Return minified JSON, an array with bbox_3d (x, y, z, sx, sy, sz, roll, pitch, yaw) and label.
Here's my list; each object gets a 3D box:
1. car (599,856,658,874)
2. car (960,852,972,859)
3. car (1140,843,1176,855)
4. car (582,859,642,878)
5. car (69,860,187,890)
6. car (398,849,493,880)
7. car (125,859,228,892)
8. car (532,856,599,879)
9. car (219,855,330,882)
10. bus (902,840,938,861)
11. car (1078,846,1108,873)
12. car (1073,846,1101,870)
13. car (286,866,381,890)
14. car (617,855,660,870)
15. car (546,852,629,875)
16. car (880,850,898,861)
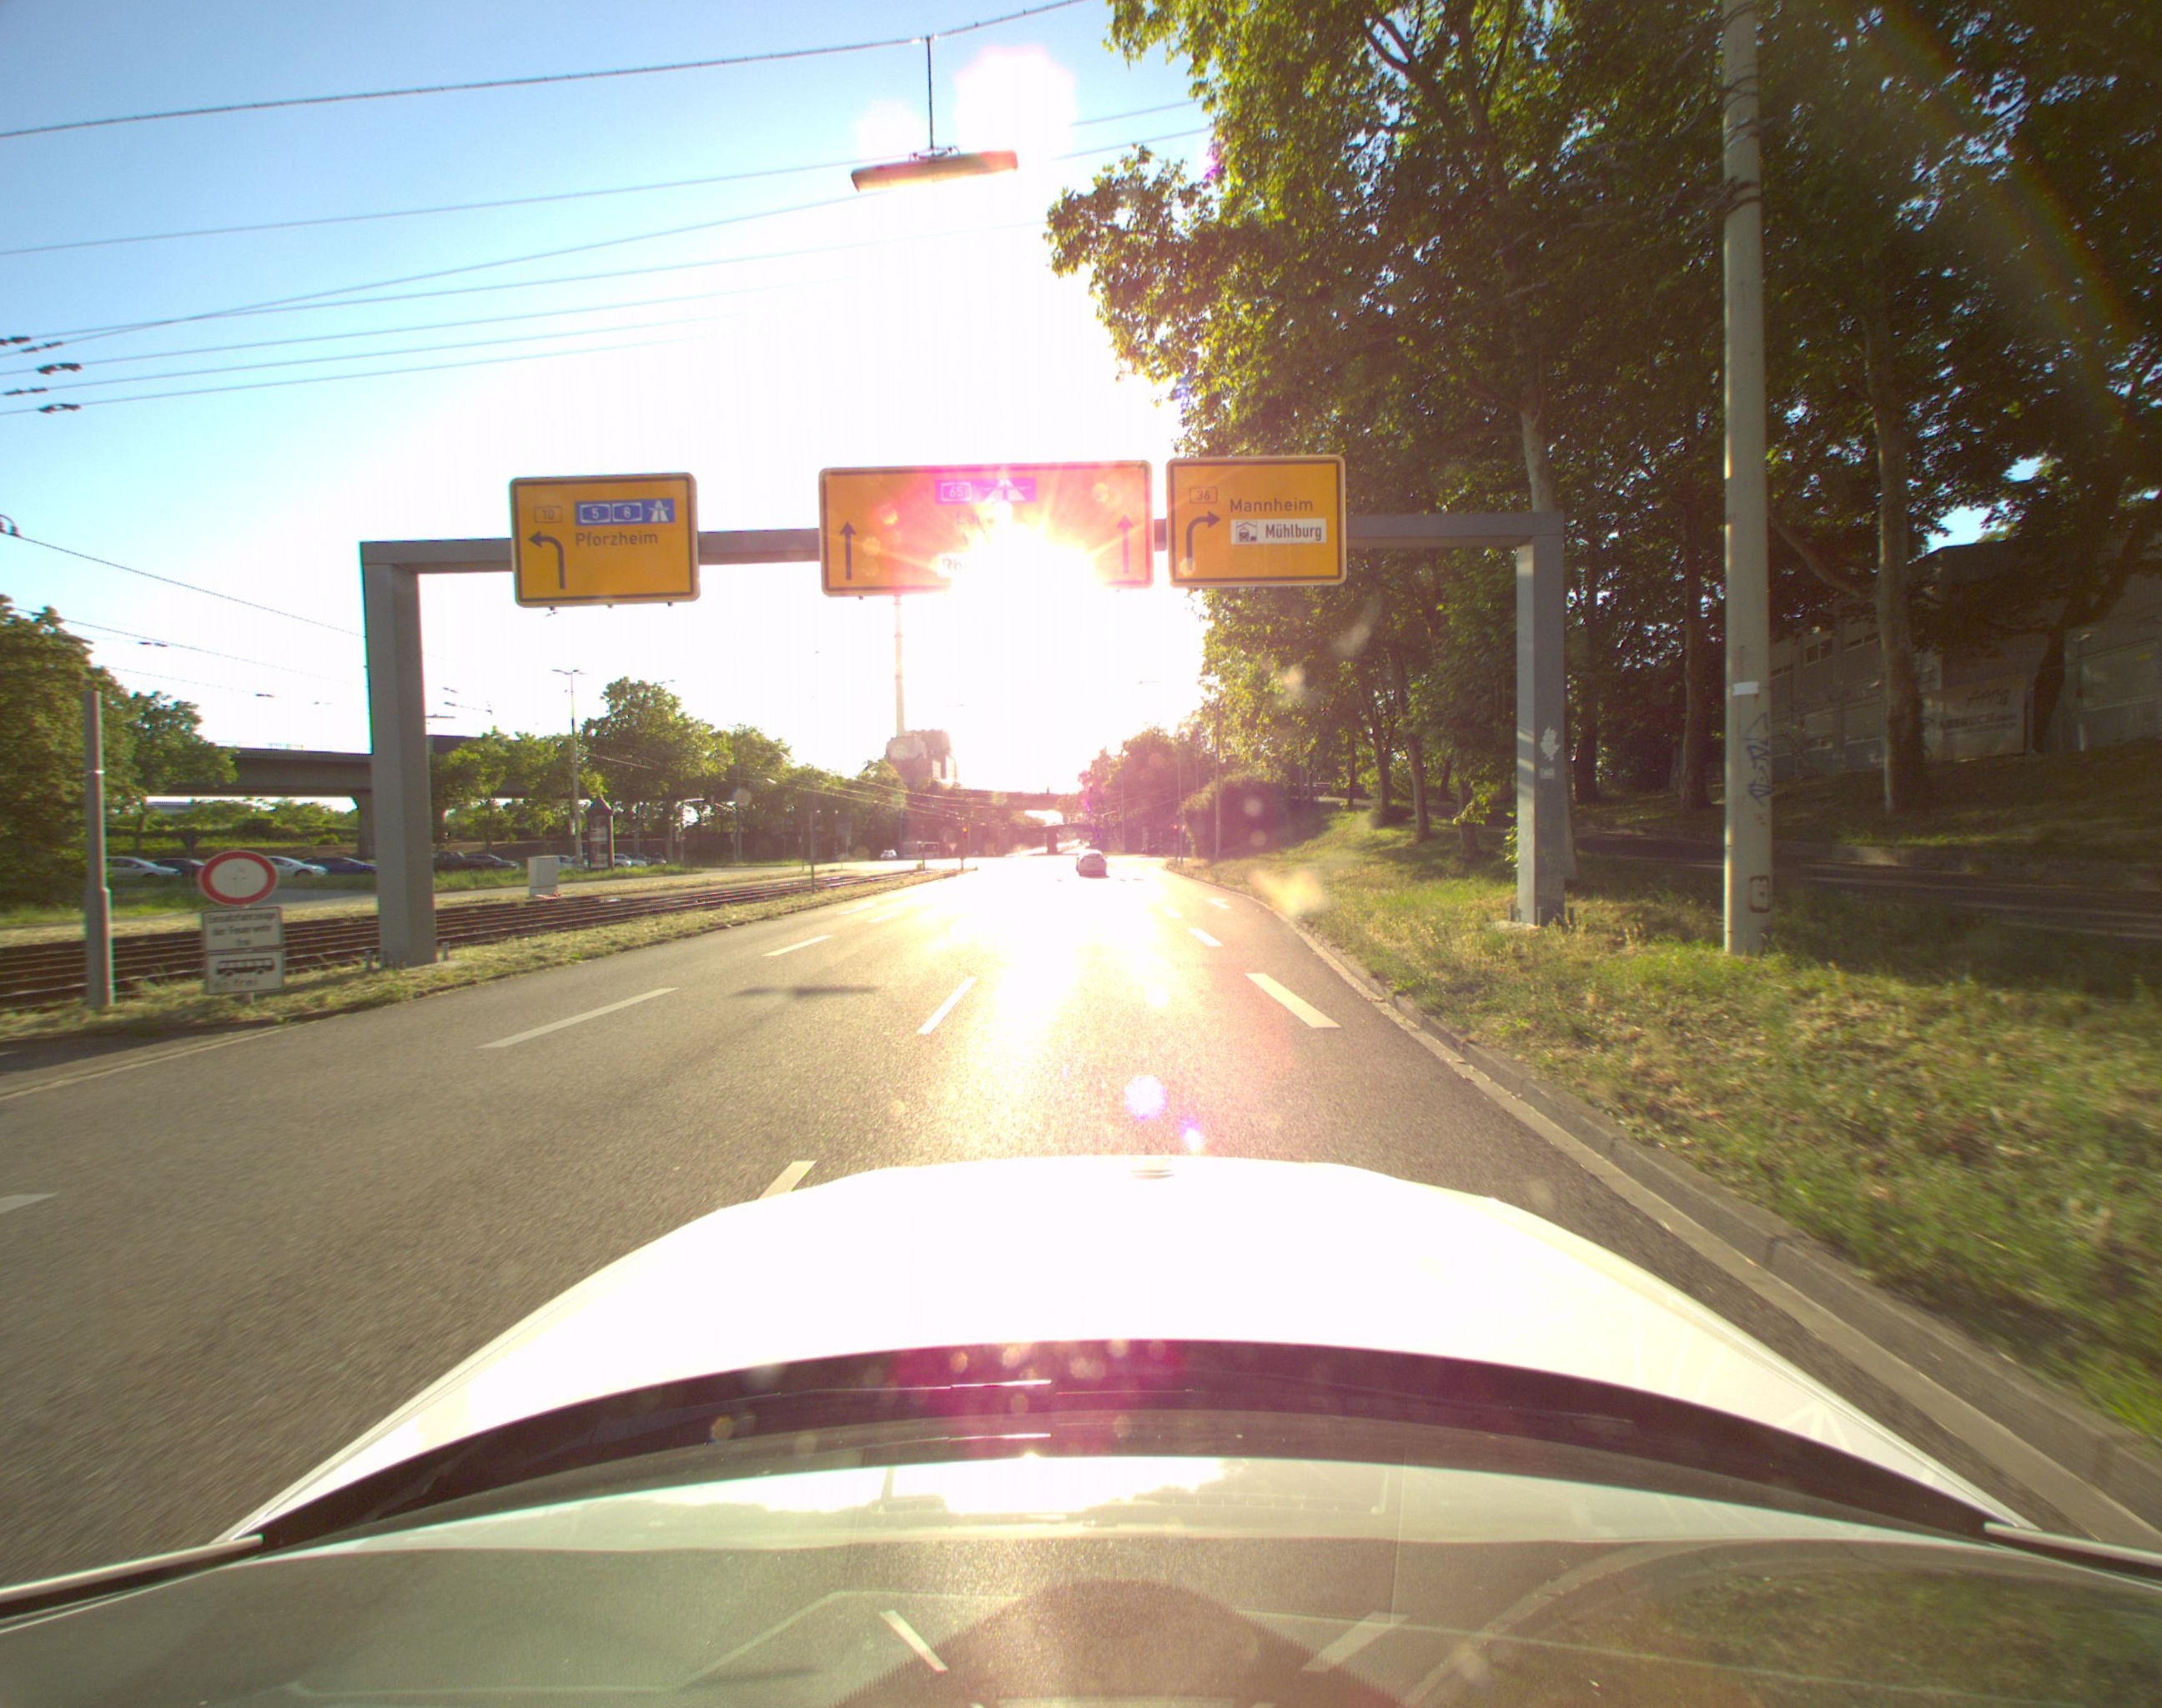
[{"bbox_3d":[-39.550,0.929,71.188,4.458,1.404,1.655,-1,1,-30],"label":"car"},{"bbox_3d":[-22.791,0.295,161.958,1.600,1.419,4.011,0,1,3],"label":"car"},{"bbox_3d":[10.586,-0.717,111.889,4.586,1.574,1.684,-1,1,-16],"label":"car"},{"bbox_3d":[-38.933,1.193,67.748,4.206,1.404,1.656,-1,1,-27],"label":"car"},{"bbox_3d":[-57.765,1.222,49.472,4.300,1.631,1.677,-1,1,-30],"label":"car"},{"bbox_3d":[-44.318,0.676,56.965,4.958,1.991,2.018,-1,1,-30],"label":"car"},{"bbox_3d":[-59.009,1.377,53.212,4.010,2.013,1.982,-1,0,-28],"label":"car"},{"bbox_3d":[-38.243,1.000,60.551,4.007,1.574,1.680,-1,1,-26],"label":"car"},{"bbox_3d":[-52.111,0.906,52.769,4.780,1.574,1.678,-1,0,-29],"label":"car"},{"bbox_3d":[-25.900,-0.534,131.699,2.532,3.130,12.929,-2,0,4],"label":"bus"},{"bbox_3d":[0.707,0.295,49.361,1.731,1.505,3.999,-2,1,0],"label":"car"},{"bbox_3d":[0.371,0.240,55.863,1.709,1.465,4.204,-2,1,-2],"label":"car"},{"bbox_3d":[-52.390,1.684,57.187,4.641,1.458,1.677,-1,1,-31],"label":"car"},{"bbox_3d":[-50.455,0.951,92.898,3.971,1.505,1.743,-2,1,2],"label":"car"},{"bbox_3d":[-38.659,0.720,63.972,5.372,1.574,1.728,-1,1,-23],"label":"car"},{"bbox_3d":[-26.757,0.199,113.380,1.602,1.512,4.007,0,1,-1],"label":"car"}]
